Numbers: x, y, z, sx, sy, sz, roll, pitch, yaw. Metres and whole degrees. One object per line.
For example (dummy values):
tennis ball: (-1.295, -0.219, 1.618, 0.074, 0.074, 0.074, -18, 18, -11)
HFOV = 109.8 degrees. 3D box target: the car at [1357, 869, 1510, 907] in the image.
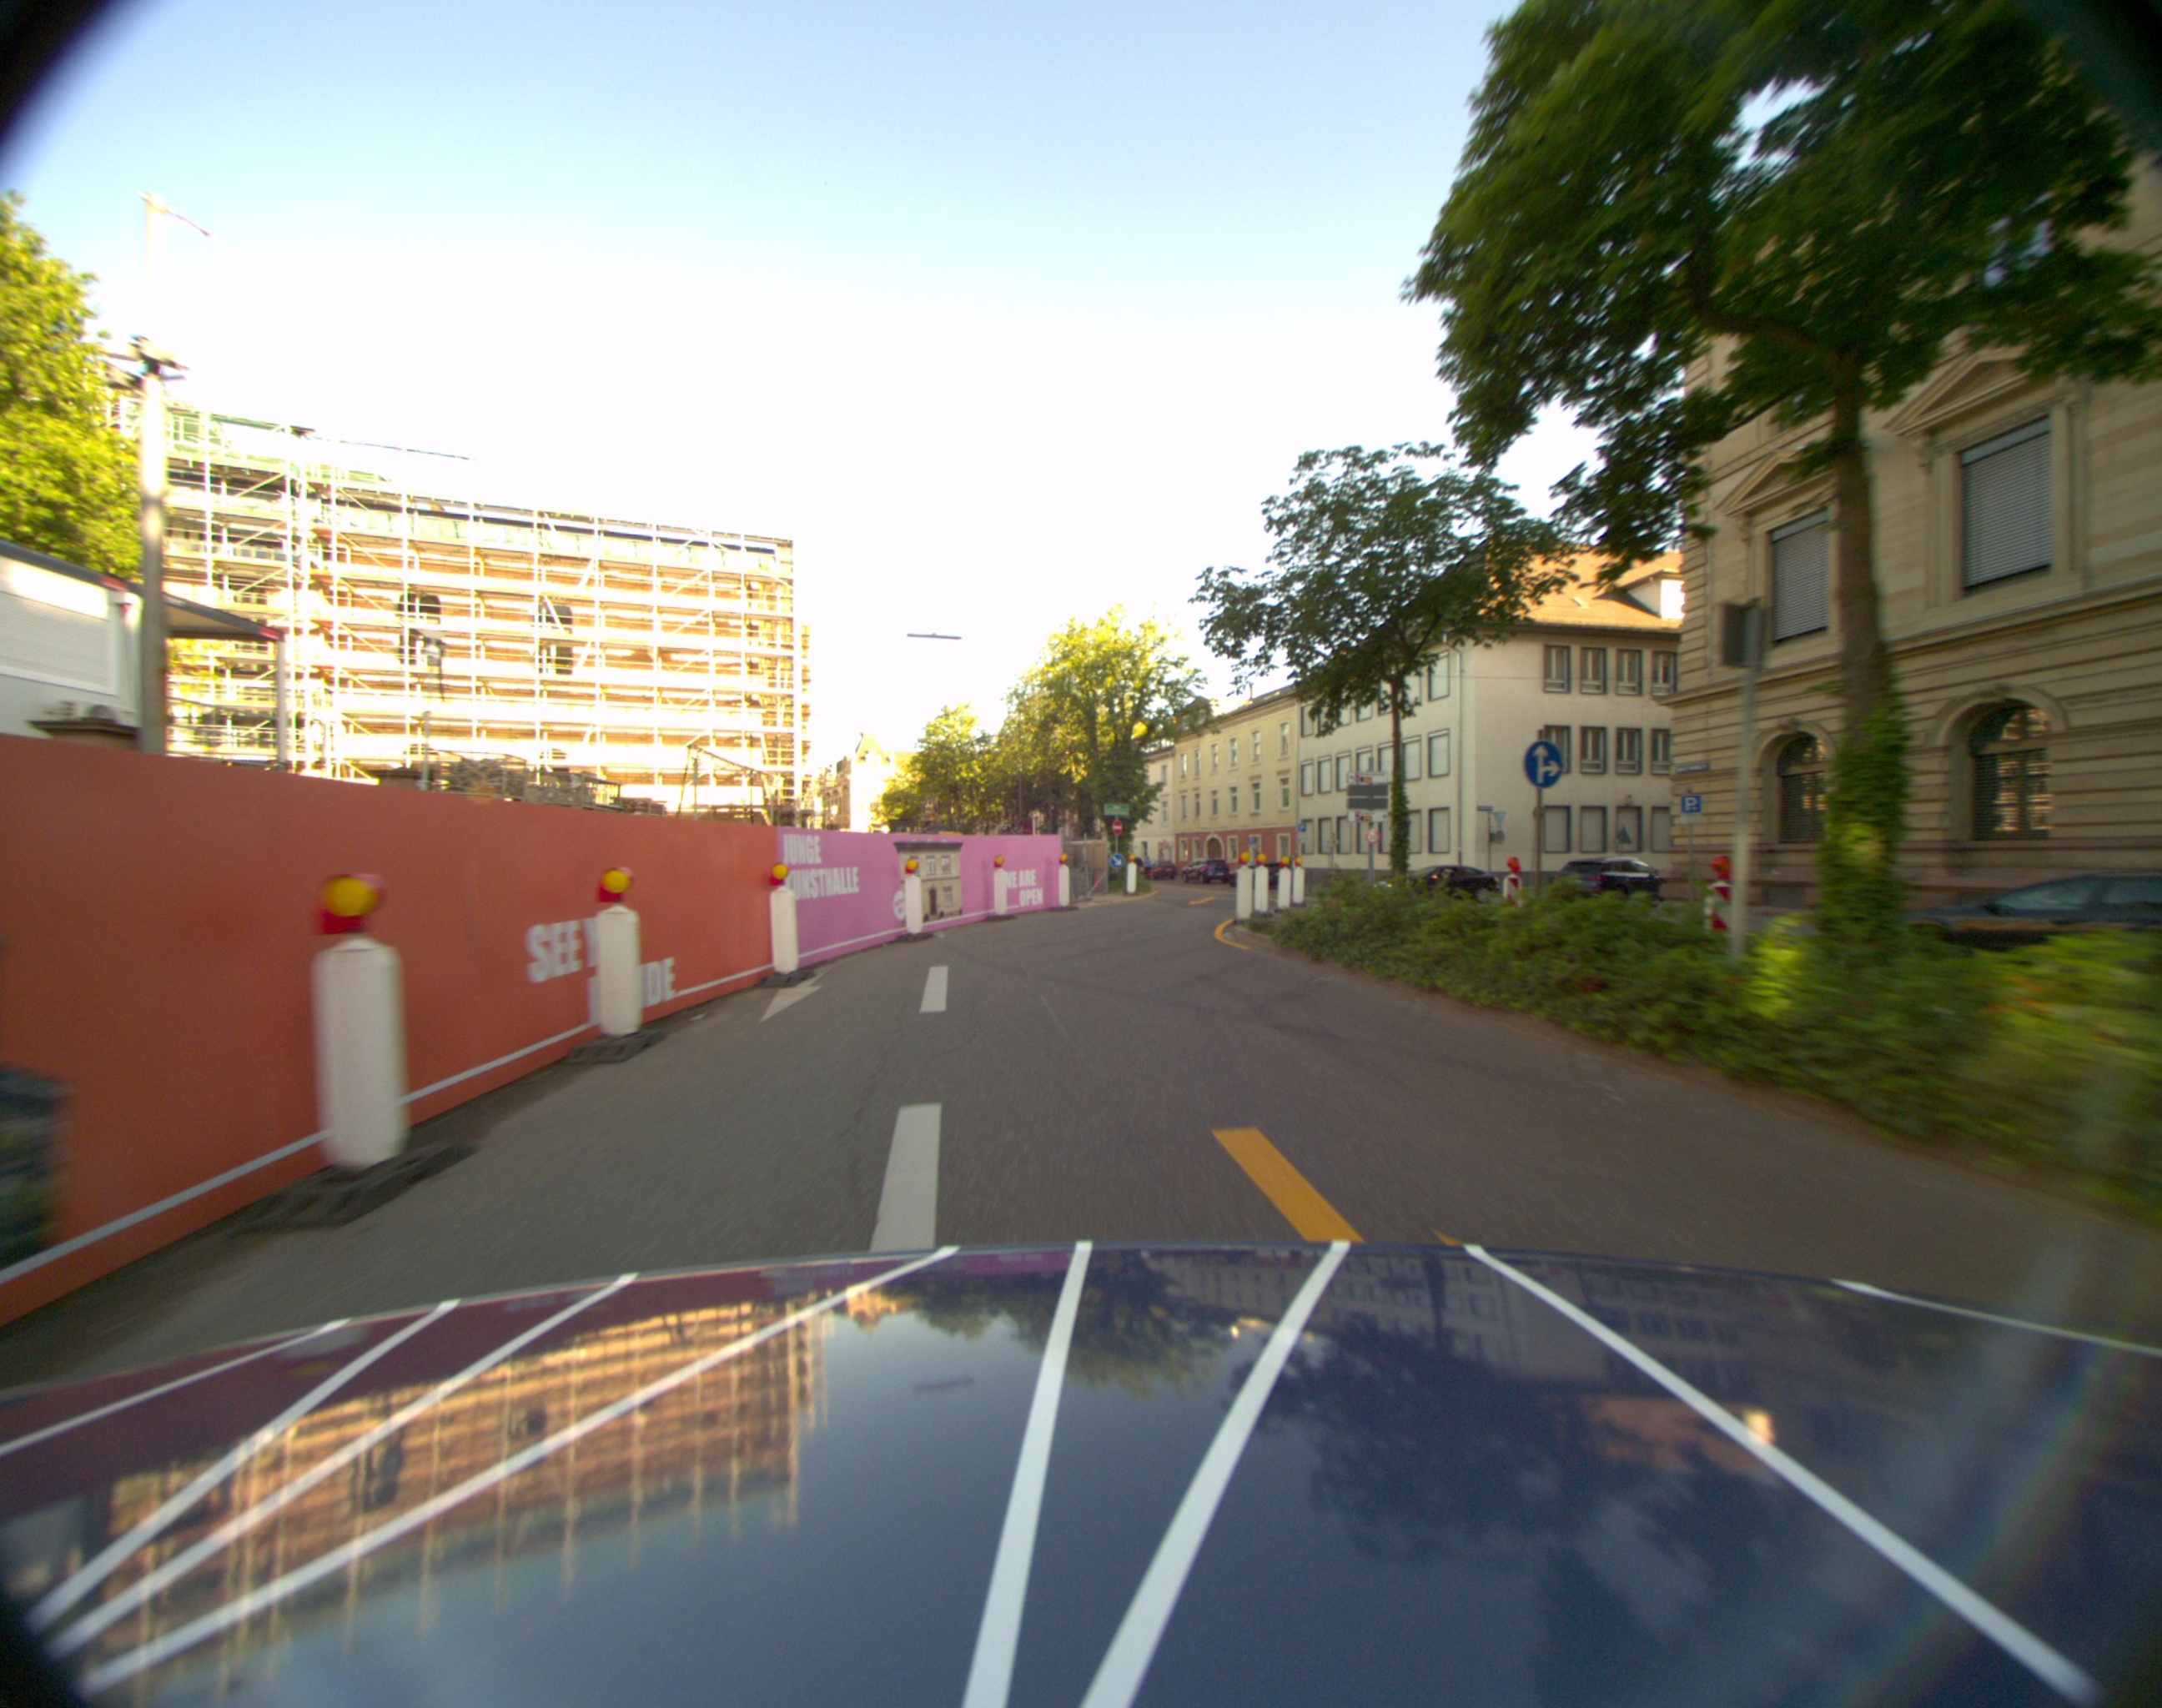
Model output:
car: (12.772, 1.223, 27.678, 4.773, 1.315, 1.766, 0, 0, -3)

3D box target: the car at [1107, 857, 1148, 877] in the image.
car: (3.765, 1.014, 62.334, 1.821, 1.562, 4.382, 0, 0, -19)

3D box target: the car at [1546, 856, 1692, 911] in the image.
car: (17.880, 0.974, 25.224, 4.662, 1.661, 1.879, 1, 0, -25)

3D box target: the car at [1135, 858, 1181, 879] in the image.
car: (5.765, 1.029, 57.283, 1.774, 1.479, 4.187, -1, 0, -20)

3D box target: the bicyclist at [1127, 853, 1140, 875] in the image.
bicyclist: (3.982, 0.749, 57.478, 0.576, 1.649, 1.009, 3, 1, -16)

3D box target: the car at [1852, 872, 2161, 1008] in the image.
car: (13.230, 1.049, 9.640, 1.885, 1.499, 4.641, 2, 0, -6)

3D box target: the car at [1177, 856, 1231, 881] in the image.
car: (7.864, 0.896, 48.826, 1.808, 1.562, 4.149, 0, 0, -16)

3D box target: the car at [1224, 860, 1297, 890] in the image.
car: (9.864, 1.102, 42.110, 1.883, 1.499, 4.781, -1, 0, -15)

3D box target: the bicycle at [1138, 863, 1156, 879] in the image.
bicycle: (4.624, 1.215, 53.551, 0.612, 1.064, 1.895, 2, 0, -14)

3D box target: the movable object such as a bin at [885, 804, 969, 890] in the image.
movable object such as a bin: (-6.325, -0.258, 31.779, 3.172, 3.281, 4.382, 1, 0, -9)

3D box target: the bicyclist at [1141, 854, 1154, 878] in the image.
bicyclist: (4.656, 0.832, 53.563, 0.583, 1.665, 0.835, 3, 1, -15)

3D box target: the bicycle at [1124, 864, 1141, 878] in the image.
bicycle: (3.912, 1.282, 57.591, 0.589, 0.982, 2.027, 2, 0, -16)
